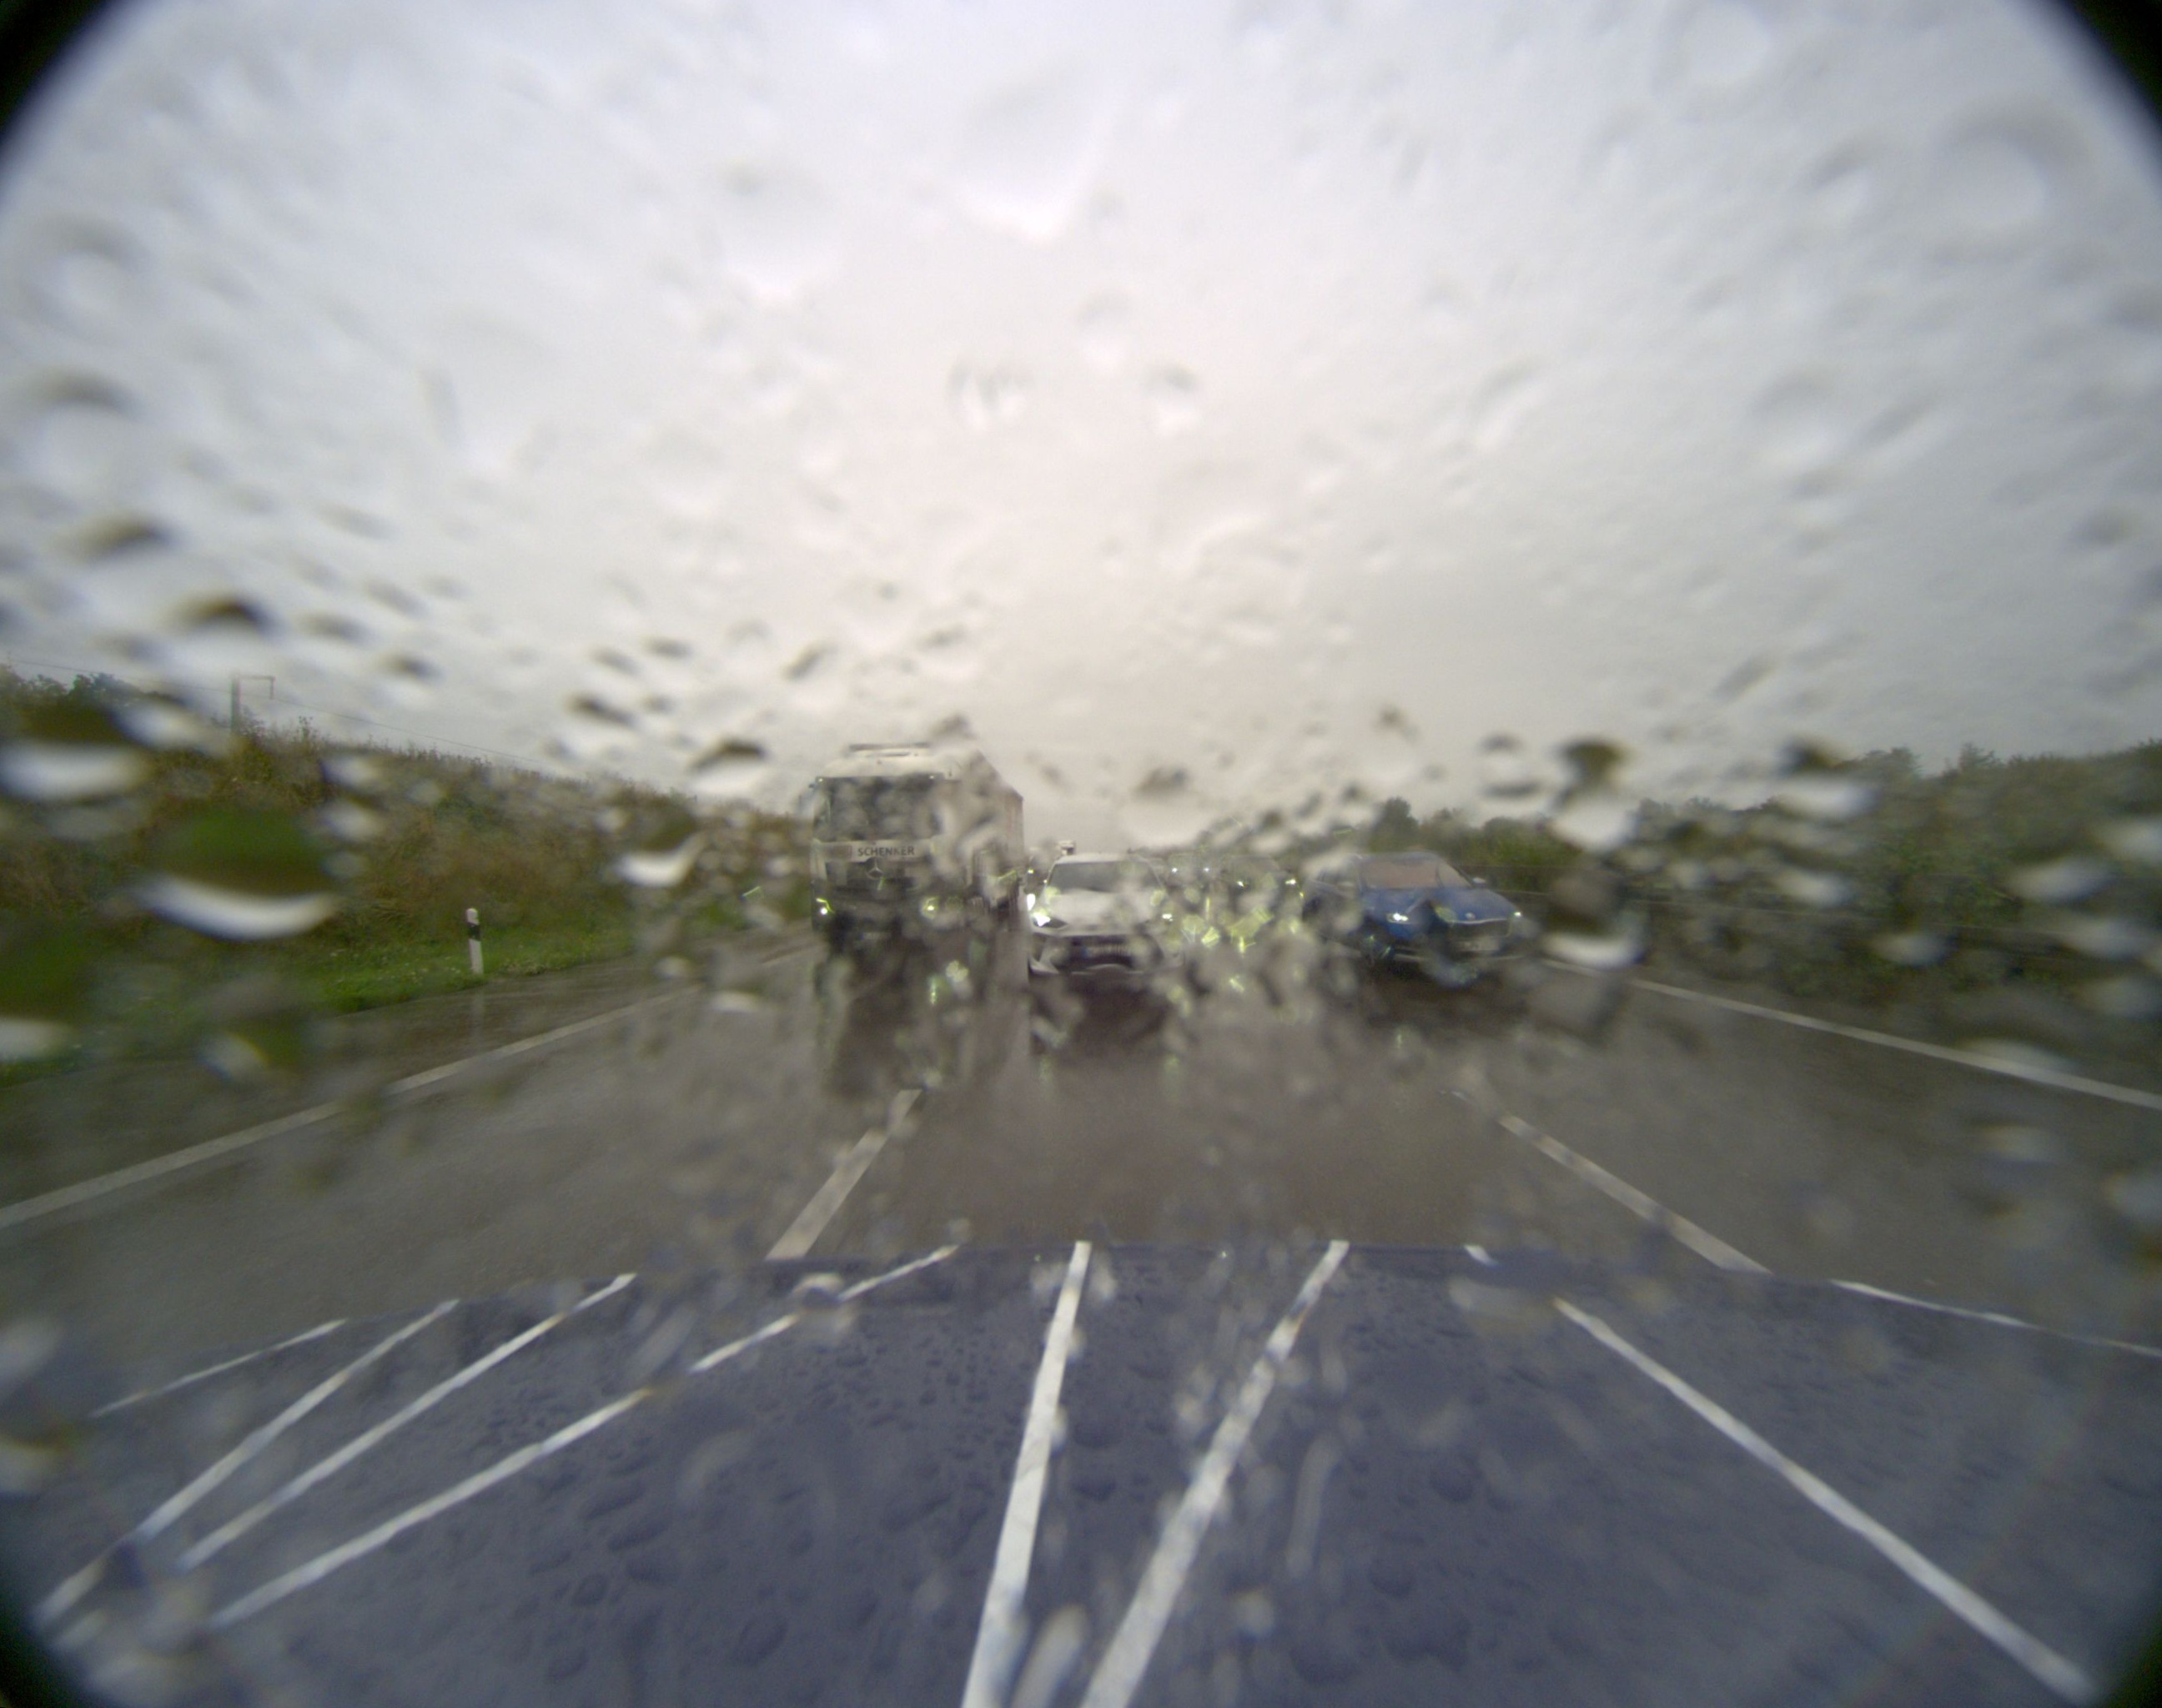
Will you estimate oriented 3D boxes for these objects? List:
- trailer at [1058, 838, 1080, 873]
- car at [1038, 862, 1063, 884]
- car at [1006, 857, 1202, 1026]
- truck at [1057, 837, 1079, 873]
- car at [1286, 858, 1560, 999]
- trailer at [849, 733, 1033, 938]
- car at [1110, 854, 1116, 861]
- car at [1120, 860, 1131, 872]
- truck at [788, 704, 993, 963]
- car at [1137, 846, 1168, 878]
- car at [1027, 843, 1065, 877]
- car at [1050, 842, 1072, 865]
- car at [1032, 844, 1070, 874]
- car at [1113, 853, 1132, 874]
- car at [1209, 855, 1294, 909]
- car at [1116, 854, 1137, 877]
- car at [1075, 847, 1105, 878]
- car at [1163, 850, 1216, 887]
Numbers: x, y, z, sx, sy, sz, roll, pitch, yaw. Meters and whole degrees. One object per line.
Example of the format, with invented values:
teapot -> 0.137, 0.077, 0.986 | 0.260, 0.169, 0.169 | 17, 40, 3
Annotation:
trailer -> -1.578, 0.215, 106.187 | 2.628, 4.635, 9.221 | -2, 0, 1
car -> -2.723, 1.679, 68.387 | 1.998, 1.805, 4.000 | -2, 0, 1
car -> 0.251, 0.876, 9.497 | 1.893, 1.578, 4.000 | -2, 0, 1
truck -> -1.657, 0.191, 101.398 | 2.628, 4.635, 4.290 | -2, 0, 1
car -> 4.347, 0.830, 10.566 | 1.790, 1.467, 4.512 | -2, 0, 1
trailer -> -3.387, -0.455, 23.054 | 2.633, 4.224, 14.175 | -2, 1, 1
car -> 7.422, 0.799, 177.590 | 1.279, 1.567, 2.848 | -2, 0, 0
car -> 6.122, 1.607, 105.029 | 1.458, 1.540, 2.804 | 0, 2, 1
truck -> -3.470, -0.363, 15.216 | 2.633, 4.229, 5.042 | -2, 1, 0
car -> 4.717, 0.537, 50.865 | 1.888, 2.002, 4.270 | -2, 0, 4
car -> -2.172, 0.355, 48.418 | 1.946, 2.002, 4.446 | -2, 1, 3
car -> -2.036, -0.073, 78.334 | 1.998, 2.231, 4.000 | -2, 0, 1
car -> -2.143, 0.324, 55.047 | 2.260, 2.002, 4.269 | -2, 1, 4
car -> 4.247, 0.955, 79.090 | 1.737, 2.002, 4.223 | -2, 0, 1
car -> 5.013, 0.774, 22.906 | 1.613, 1.428, 4.370 | -2, 0, 1
car -> 4.122, 1.009, 69.317 | 1.737, 2.002, 4.223 | -2, 0, 1
car -> 0.662, 0.587, 52.768 | 1.998, 2.002, 4.000 | -2, 0, 2
car -> 5.127, 0.658, 36.345 | 1.889, 1.622, 4.269 | -2, 0, 0
